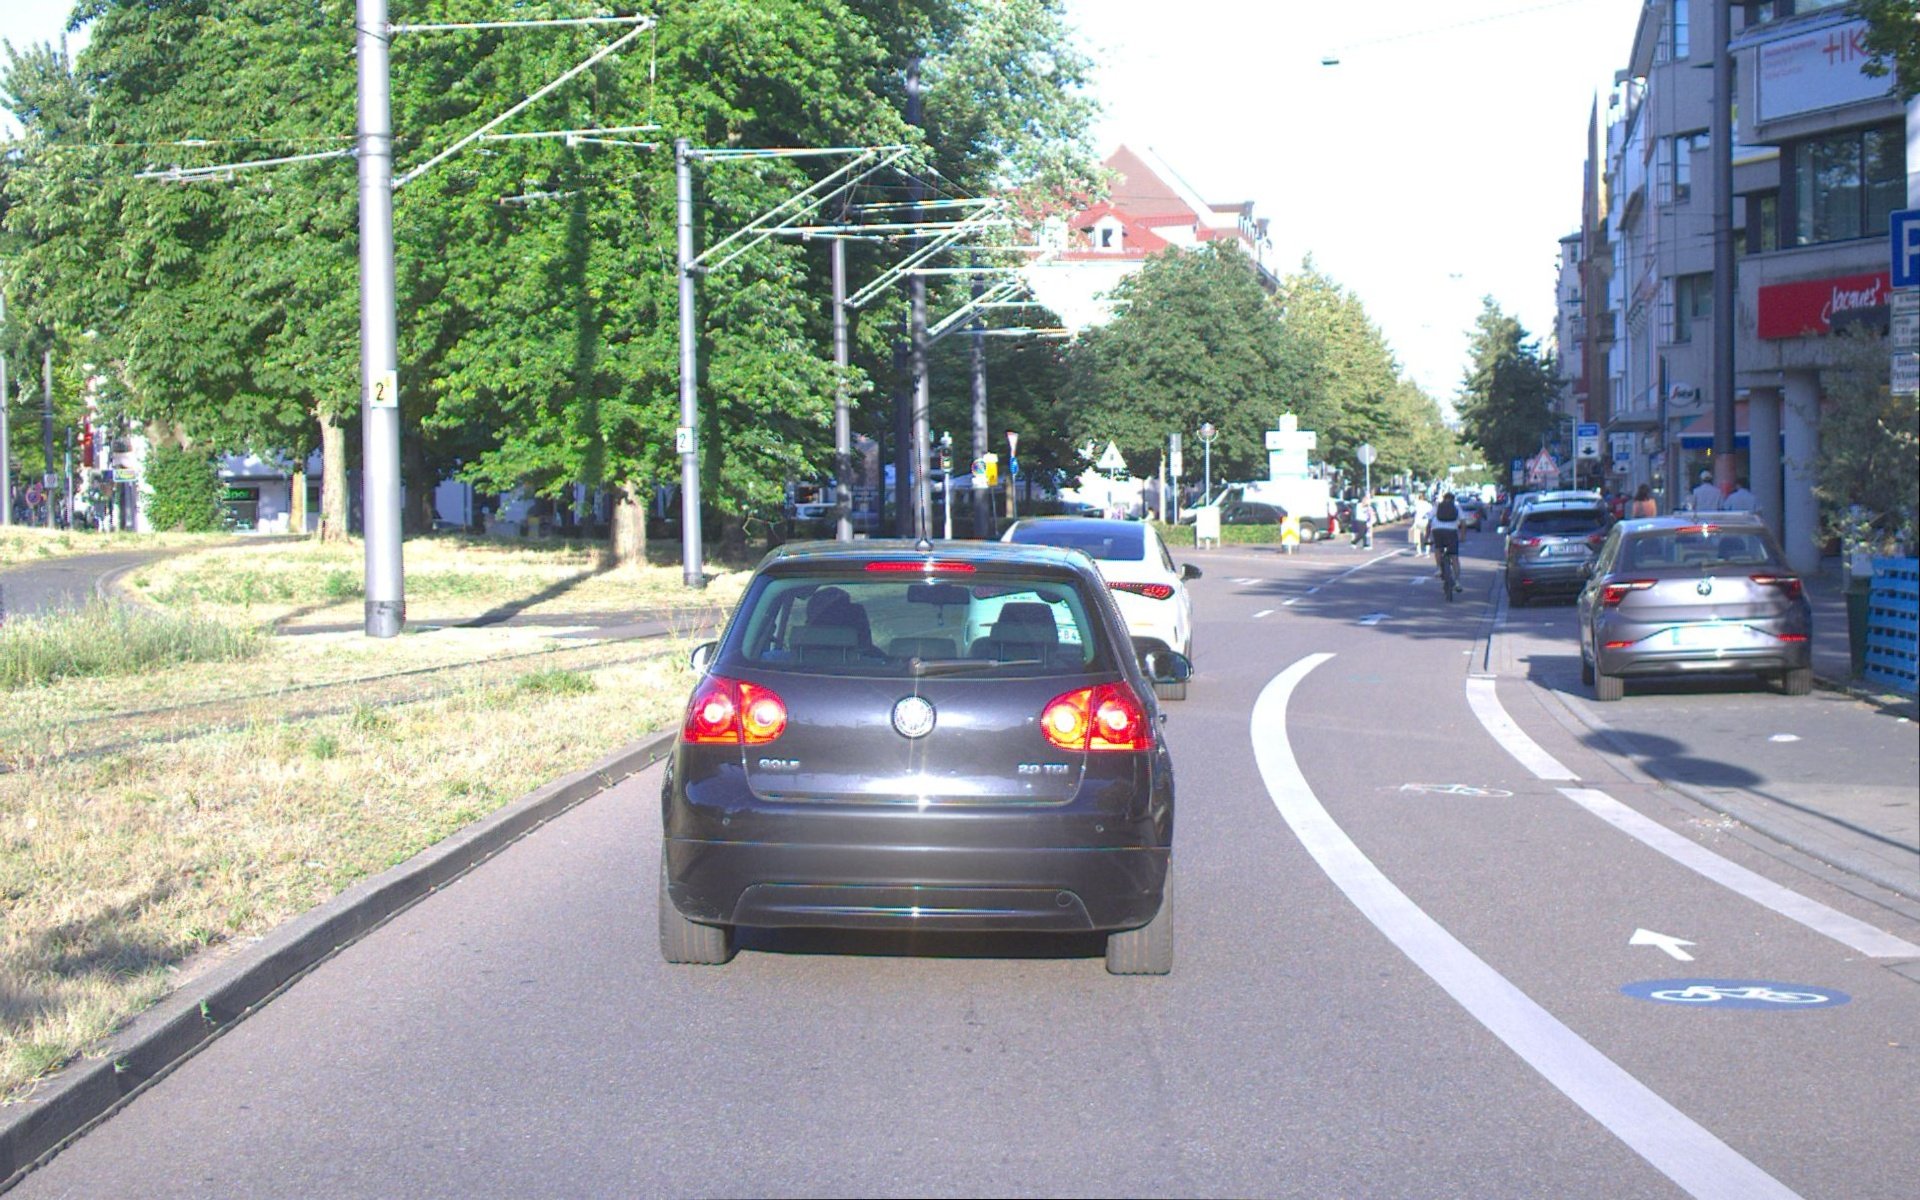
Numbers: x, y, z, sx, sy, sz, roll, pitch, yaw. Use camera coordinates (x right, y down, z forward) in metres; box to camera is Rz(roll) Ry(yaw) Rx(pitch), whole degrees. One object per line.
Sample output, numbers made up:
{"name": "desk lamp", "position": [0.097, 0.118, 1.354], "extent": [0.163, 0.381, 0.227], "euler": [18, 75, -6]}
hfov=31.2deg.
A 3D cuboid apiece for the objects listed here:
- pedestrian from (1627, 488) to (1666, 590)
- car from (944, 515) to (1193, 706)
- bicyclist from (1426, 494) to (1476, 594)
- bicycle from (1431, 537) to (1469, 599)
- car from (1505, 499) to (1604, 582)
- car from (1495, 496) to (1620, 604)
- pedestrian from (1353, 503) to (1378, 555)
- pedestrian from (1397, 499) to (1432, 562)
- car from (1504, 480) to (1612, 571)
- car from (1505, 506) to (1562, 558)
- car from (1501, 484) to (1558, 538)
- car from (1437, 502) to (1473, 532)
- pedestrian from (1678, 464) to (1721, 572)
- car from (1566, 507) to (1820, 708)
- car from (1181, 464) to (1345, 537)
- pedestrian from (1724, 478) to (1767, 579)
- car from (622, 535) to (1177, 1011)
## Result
{"name": "pedestrian", "position": [12.155, -1.084, 60.884], "extent": [0.579, 1.754, 0.661], "euler": [-3, 1, 10]}
{"name": "car", "position": [0.984, 0.035, 28.885], "extent": [1.865, 1.436, 4.196], "euler": [0, 2, 5]}
{"name": "bicyclist", "position": [8.002, -0.914, 56.025], "extent": [0.777, 1.612, 1.025], "euler": [1, 1, 9]}
{"name": "bicycle", "position": [8.006, -0.530, 56.157], "extent": [0.579, 0.984, 1.935], "euler": [1, 1, 9]}
{"name": "car", "position": [11.188, -1.140, 64.573], "extent": [1.663, 1.436, 3.853], "euler": [-3, 1, 11]}
{"name": "car", "position": [9.338, -0.811, 53.837], "extent": [1.782, 1.551, 4.233], "euler": [-3, 1, 10]}
{"name": "pedestrian", "position": [12.257, -2.150, 104.010], "extent": [0.736, 1.549, 0.632], "euler": [0, 1, 6]}
{"name": "pedestrian", "position": [12.398, -1.905, 93.734], "extent": [0.859, 1.700, 0.941], "euler": [1, 1, 3]}
{"name": "car", "position": [12.158, -1.527, 70.128], "extent": [1.868, 1.708, 4.504], "euler": [-3, 1, 7]}
{"name": "car", "position": [18.528, -2.214, 111.147], "extent": [1.735, 1.611, 3.915], "euler": [-2, 1, 9]}
{"name": "car", "position": [20.499, -3.190, 123.697], "extent": [1.926, 1.835, 4.016], "euler": [-2, 1, 10]}
{"name": "car", "position": [26.375, -4.445, 183.094], "extent": [1.907, 1.546, 3.999], "euler": [0, 2, 8]}
{"name": "pedestrian", "position": [13.043, -1.444, 60.650], "extent": [0.622, 1.851, 0.661], "euler": [-3, 1, 10]}
{"name": "car", "position": [6.011, 0.010, 28.541], "extent": [1.728, 1.467, 3.898], "euler": [-3, 1, 8]}
{"name": "car", "position": [10.993, -3.605, 124.763], "extent": [5.510, 2.585, 2.155], "euler": [-1, 1, -17]}
{"name": "pedestrian", "position": [13.806, -1.261, 60.463], "extent": [0.622, 1.734, 0.661], "euler": [-3, 1, 10]}
{"name": "car", "position": [-0.081, 0.502, 12.846], "extent": [1.748, 1.456, 4.103], "euler": [0, 2, 3]}
